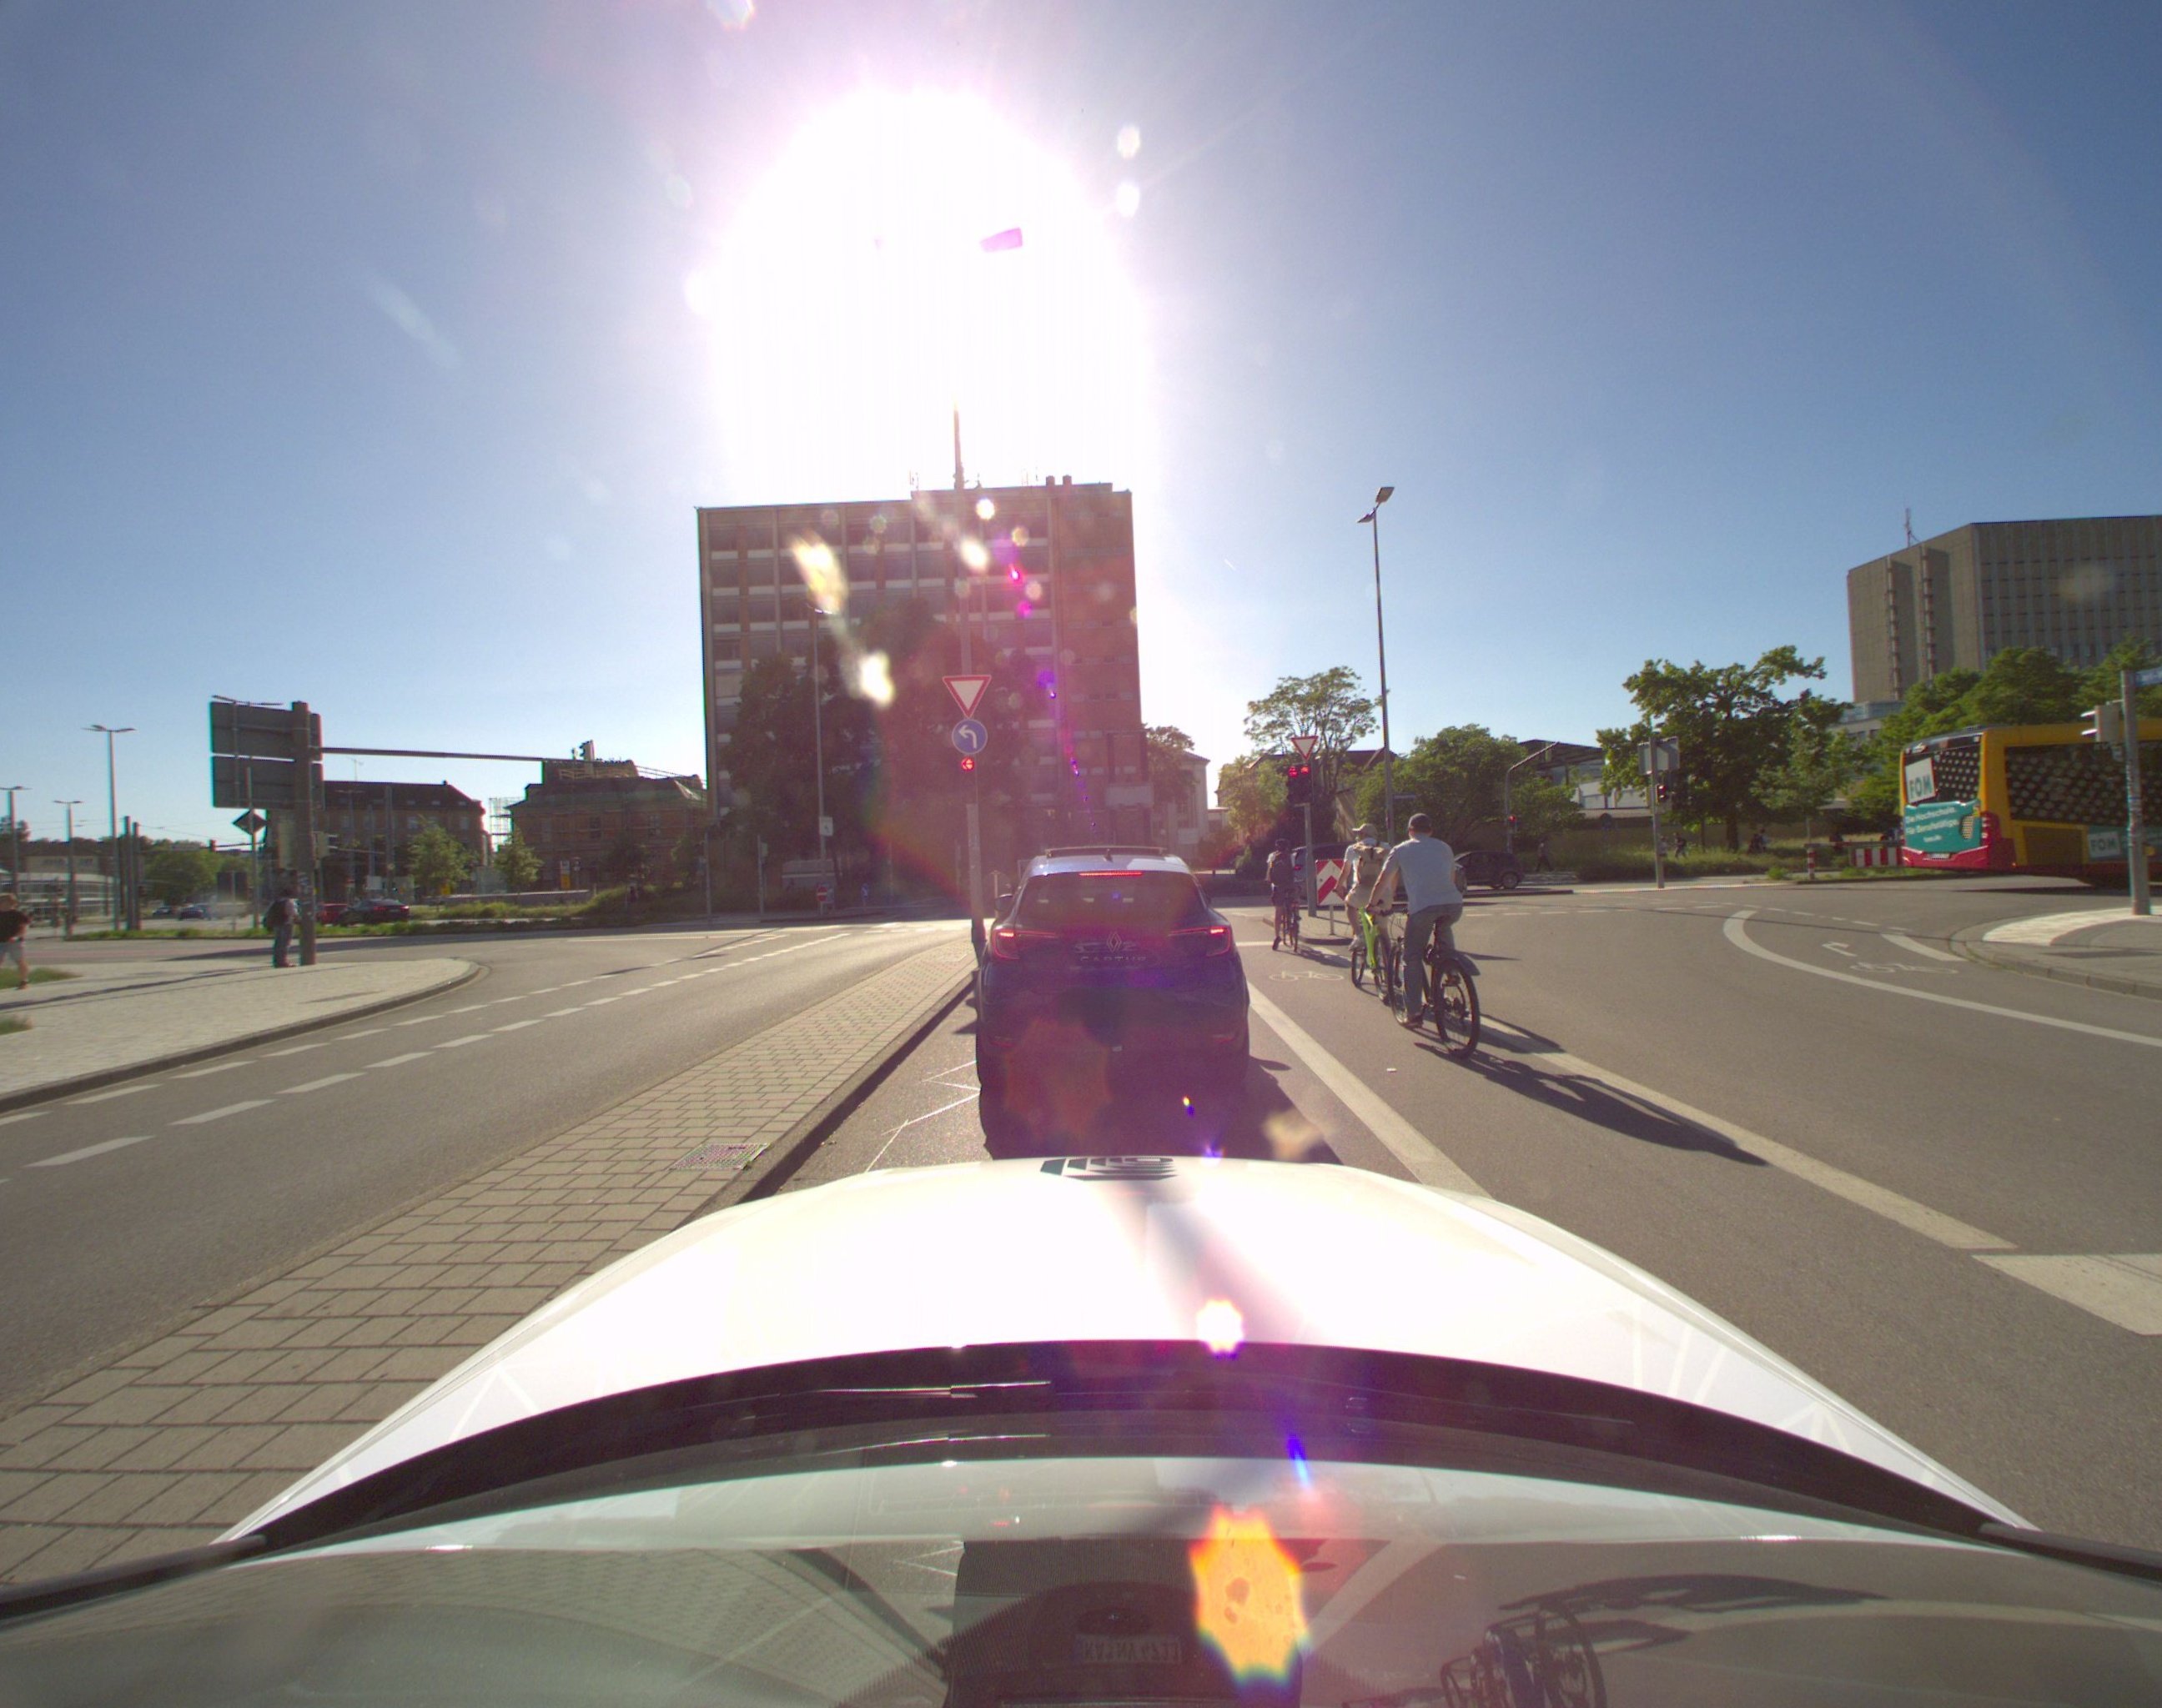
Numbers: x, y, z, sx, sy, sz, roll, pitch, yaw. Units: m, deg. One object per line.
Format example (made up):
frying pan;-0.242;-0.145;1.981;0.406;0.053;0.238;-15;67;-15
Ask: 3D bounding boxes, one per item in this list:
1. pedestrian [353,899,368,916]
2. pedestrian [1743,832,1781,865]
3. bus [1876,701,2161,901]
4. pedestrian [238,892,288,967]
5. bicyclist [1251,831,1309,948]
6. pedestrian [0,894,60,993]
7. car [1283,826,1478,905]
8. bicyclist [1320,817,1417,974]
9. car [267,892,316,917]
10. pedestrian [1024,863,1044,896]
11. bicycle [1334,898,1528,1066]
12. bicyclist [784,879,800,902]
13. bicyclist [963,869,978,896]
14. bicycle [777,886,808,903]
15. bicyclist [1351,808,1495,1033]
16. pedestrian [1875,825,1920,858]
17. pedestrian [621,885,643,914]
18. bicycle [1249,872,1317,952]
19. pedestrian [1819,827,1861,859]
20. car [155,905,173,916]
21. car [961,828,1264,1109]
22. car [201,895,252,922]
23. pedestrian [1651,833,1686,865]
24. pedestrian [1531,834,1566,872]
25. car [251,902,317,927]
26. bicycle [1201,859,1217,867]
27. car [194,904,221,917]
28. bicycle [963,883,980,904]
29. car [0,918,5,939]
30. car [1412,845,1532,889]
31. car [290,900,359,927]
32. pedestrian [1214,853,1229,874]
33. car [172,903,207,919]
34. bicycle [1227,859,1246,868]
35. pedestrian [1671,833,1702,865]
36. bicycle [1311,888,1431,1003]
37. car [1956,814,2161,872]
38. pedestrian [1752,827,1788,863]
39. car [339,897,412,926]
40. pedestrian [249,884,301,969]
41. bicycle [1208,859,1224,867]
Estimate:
pedestrian;-91.009;6.800;102.917;1.078;2.013;1.282;-3;-1;44
pedestrian;33.107;-0.263;39.586;1.069;1.521;0.880;-2;-1;6
bus;23.655;-1.151;15.312;12.327;3.570;3.264;-2;0;16
pedestrian;-19.243;1.755;19.168;0.627;1.697;0.608;-3;-1;25
bicyclist;3.160;0.552;12.994;0.674;1.785;0.939;-1;-1;0
pedestrian;-20.914;1.745;15.999;0.856;1.845;0.847;-3;-1;25
car;8.053;0.318;22.333;4.697;1.861;2.011;-3;-1;10
bicyclist;3.070;0.420;8.797;0.672;1.583;1.081;0;0;1
car;-69.704;4.491;71.884;4.950;2.013;2.086;-3;-1;34
pedestrian;-2.737;1.491;47.905;0.926;1.855;0.809;-3;-1;11
bicycle;2.753;0.947;6.673;0.745;1.050;1.903;-3;0;1
bicyclist;-17.723;2.237;49.951;0.630;1.412;0.653;-3;-1;27
bicyclist;-5.970;1.567;44.045;0.648;1.412;0.635;-2;-3;-14
bicycle;-17.714;2.473;49.934;1.848;0.958;0.627;-3;-1;26
bicyclist;2.733;0.505;6.597;0.737;1.674;0.865;-2;-1;0
pedestrian;39.703;-0.613;39.612;1.123;1.521;0.992;-2;-1;5
pedestrian;-32.301;3.292;58.538;0.816;2.013;1.021;-3;-1;25
bicycle;3.179;0.877;12.955;0.613;1.138;1.826;-2;0;0
pedestrian;37.703;-0.525;40.482;1.140;1.521;0.944;-2;-1;7
car;-153.017;9.462;135.896;3.949;1.673;2.012;-3;-1;42
car;0.223;0.683;6.794;1.788;1.655;3.853;-1;0;1
car;-89.624;5.652;85.357;6.867;2.547;3.032;-3;-1;38
pedestrian;29.188;-0.239;40.453;1.078;1.521;0.933;-2;-1;11
pedestrian;24.050;-0.050;41.925;1.288;1.855;0.969;-3;-1;13
car;-53.578;4.084;54.756;3.771;1.518;2.012;-3;-1;27
bicycle;15.561;1.118;99.011;1.764;0.893;0.766;-2;-1;2
car;-106.256;6.881;99.021;4.006;1.439;2.078;-3;0;42
bicycle;-5.948;2.144;44.004;0.699;1.007;1.859;-3;-3;-13
car;-75.363;5.190;55.294;3.950;1.389;2.012;-4;-1;26
car;15.670;0.534;32.819;3.962;1.570;1.841;-3;-1;10
car;-47.959;3.776;51.641;3.771;1.518;2.012;-3;-1;27
pedestrian;13.600;0.890;78.960;1.152;2.013;1.165;-2;-1;2
car;-99.221;6.376;90.630;4.795;1.582;2.115;-3;0;37
bicycle;15.813;0.953;82.829;1.770;0.823;0.763;-2;-1;-9
pedestrian;30.876;-0.243;41.561;0.974;1.604;0.830;-3;-1;15
bicycle;3.074;0.927;8.830;0.669;1.050;1.844;0;0;1
car;31.104;-0.321;25.934;4.103;1.606;1.915;-2;0;7
pedestrian;34.178;-0.423;40.390;0.958;1.732;0.927;-2;-1;6
car;-42.386;3.449;48.906;3.771;1.518;2.012;-3;-1;27
pedestrian;-18.247;1.625;18.441;0.673;1.855;0.608;-3;-1;25
bicycle;15.705;1.063;94.641;1.764;0.898;0.766;-2;-1;2
